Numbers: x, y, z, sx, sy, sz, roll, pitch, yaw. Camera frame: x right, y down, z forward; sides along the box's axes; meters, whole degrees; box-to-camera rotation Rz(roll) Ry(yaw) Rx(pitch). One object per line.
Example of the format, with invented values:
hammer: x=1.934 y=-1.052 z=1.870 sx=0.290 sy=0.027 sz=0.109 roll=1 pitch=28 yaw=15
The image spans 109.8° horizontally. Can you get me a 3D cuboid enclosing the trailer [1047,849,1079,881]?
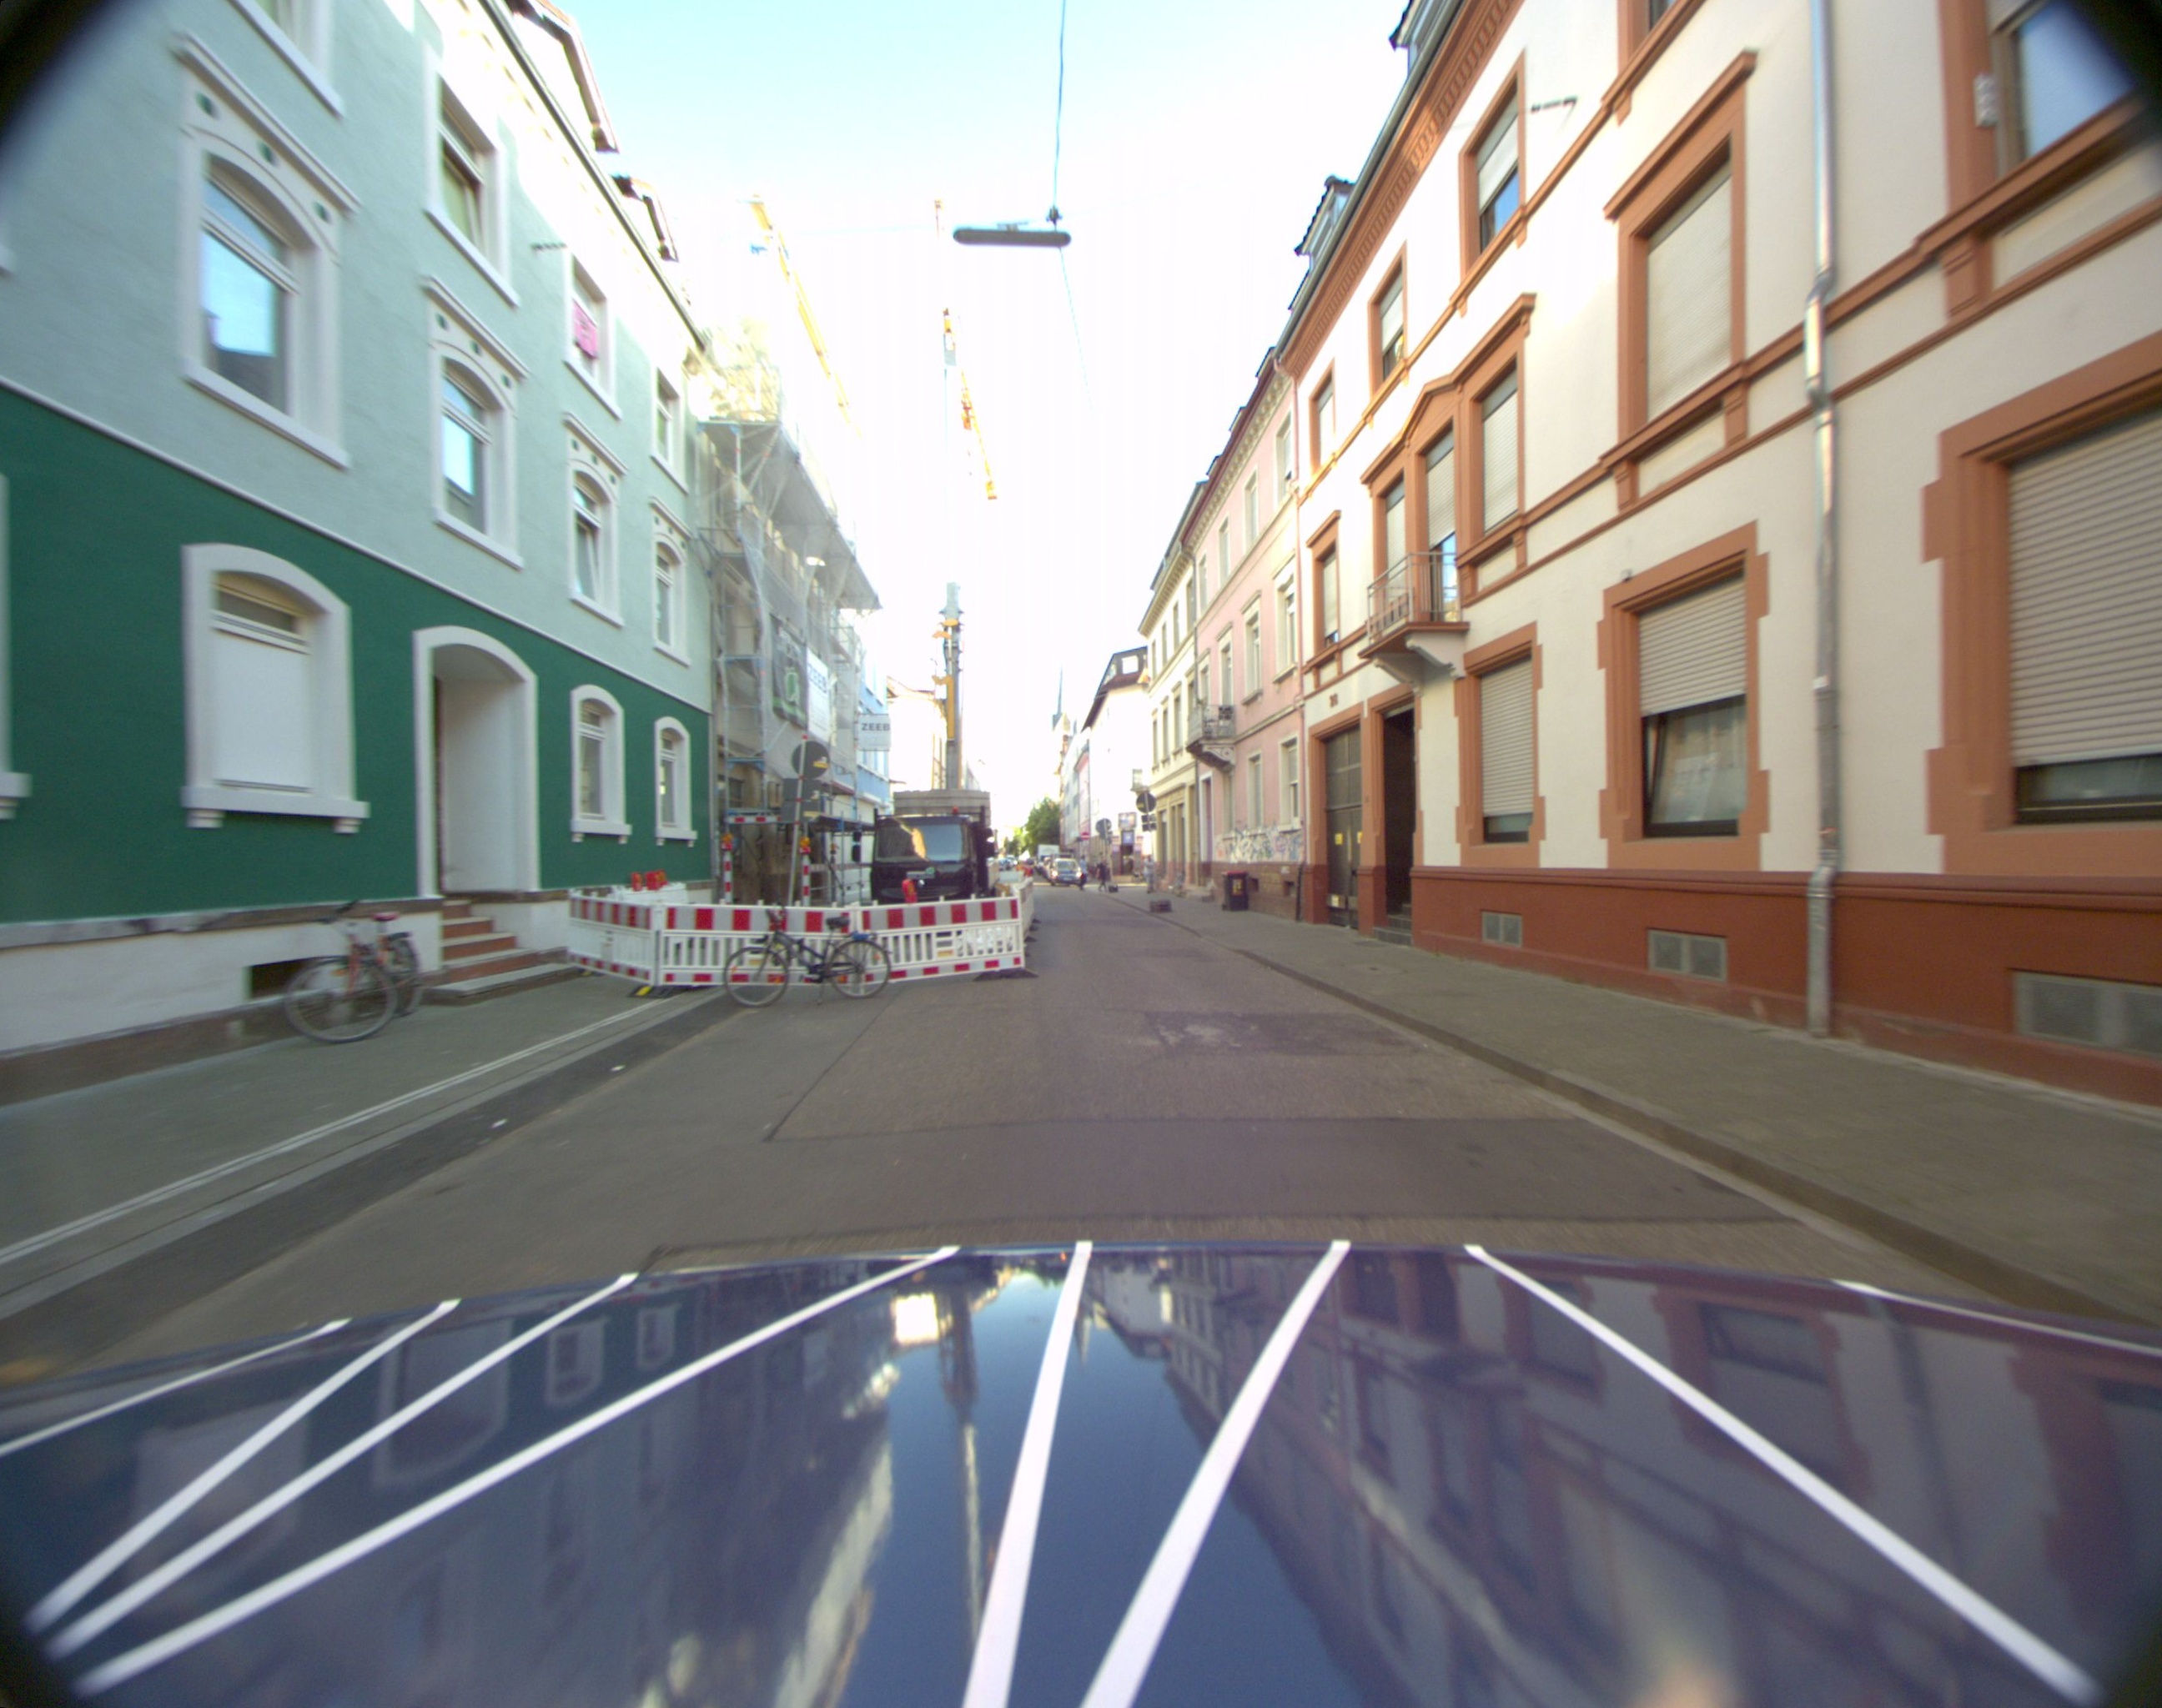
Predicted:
trailer: x=-1.248 y=0.701 z=50.425 sx=1.667 sy=2.049 sz=4.361 roll=0 pitch=0 yaw=-7

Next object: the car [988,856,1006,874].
car: x=-8.584 y=1.064 z=77.657 sx=1.714 sy=1.721 sz=4.405 roll=0 pitch=0 yaw=-5

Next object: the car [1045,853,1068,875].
car: x=-2.180 y=0.862 z=66.507 sx=1.807 sy=1.834 sz=4.242 roll=0 pitch=1 yaw=-4

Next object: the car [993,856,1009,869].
car: x=-8.883 y=0.943 z=84.670 sx=1.613 sy=1.387 sz=3.879 roll=0 pitch=0 yaw=-4

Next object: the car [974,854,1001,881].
car: x=-6.619 y=0.952 z=54.167 sx=1.753 sy=1.806 sz=4.367 roll=0 pitch=0 yaw=-4

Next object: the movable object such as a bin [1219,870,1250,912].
movable object such as a bin: x=3.975 y=0.956 z=19.647 sx=0.607 sy=1.029 sz=0.596 roll=-2 pitch=1 yaw=-5

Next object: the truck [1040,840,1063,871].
truck: x=-3.175 y=0.138 z=80.795 sx=2.297 sy=3.165 sz=7.042 roll=0 pitch=1 yaw=-3

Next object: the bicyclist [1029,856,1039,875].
bicyclist: x=-3.586 y=0.867 z=57.962 sx=0.710 sy=1.427 sz=0.789 roll=-1 pitch=1 yaw=-2

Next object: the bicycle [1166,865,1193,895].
bicycle: x=3.690 y=0.952 z=28.464 sx=0.624 sy=1.016 sz=1.817 roll=-2 pitch=0 yaw=-4

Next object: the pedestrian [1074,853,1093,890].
pedestrian: x=0.114 y=0.881 z=38.885 sx=0.772 sy=1.839 sz=0.779 roll=-2 pitch=1 yaw=-12

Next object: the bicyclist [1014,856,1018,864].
bicyclist: x=-13.505 y=1.282 z=157.448 sx=0.716 sy=1.650 sz=0.876 roll=-2 pitch=1 yaw=-7

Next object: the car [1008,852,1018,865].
car: x=-15.564 y=1.046 z=174.419 sx=2.000 sy=2.777 sz=4.560 roll=-2 pitch=1 yaw=-8

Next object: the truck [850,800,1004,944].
truck: x=-3.459 y=0.328 z=18.943 sx=2.669 sy=2.798 sz=7.389 roll=-2 pitch=1 yaw=-4

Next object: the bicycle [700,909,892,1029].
bicycle: x=-3.078 y=1.225 z=8.371 sx=1.856 sy=1.104 sz=0.643 roll=-2 pitch=1 yaw=-11

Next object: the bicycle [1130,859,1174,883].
bicycle: x=4.235 y=1.017 z=45.342 sx=2.482 sy=1.351 sz=0.928 roll=-1 pitch=1 yaw=-3

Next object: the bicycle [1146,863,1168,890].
bicycle: x=3.299 y=0.967 z=33.052 sx=0.605 sy=1.016 sz=1.817 roll=-5 pitch=1 yaw=-4

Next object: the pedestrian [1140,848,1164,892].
pedestrian: x=2.865 y=0.642 z=30.737 sx=0.695 sy=1.691 sz=0.865 roll=-6 pitch=-1 yaw=-4

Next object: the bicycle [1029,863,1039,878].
bicycle: x=-3.581 y=1.257 z=57.992 sx=0.710 sy=1.105 sz=1.934 roll=-1 pitch=0 yaw=-2

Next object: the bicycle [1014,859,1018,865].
bicycle: x=-13.481 y=1.716 z=157.427 sx=0.729 sy=1.173 sz=2.487 roll=-2 pitch=1 yaw=-6

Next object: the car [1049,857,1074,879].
car: x=-1.483 y=0.998 z=56.291 sx=1.681 sy=1.545 sz=3.816 roll=0 pitch=0 yaw=-4

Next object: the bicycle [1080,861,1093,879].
bicycle: x=0.352 y=1.035 z=49.928 sx=0.578 sy=1.132 sz=1.460 roll=-2 pitch=1 yaw=-9

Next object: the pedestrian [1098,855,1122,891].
pedestrian: x=1.442 y=0.933 z=37.695 sx=0.829 sy=1.782 sz=0.988 roll=1 pitch=1 yaw=-21

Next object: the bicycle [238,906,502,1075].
bicycle: x=-6.094 y=1.106 z=6.684 sx=0.657 sy=1.122 sz=1.833 roll=3 pitch=0 yaw=-4

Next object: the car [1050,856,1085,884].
car: x=-0.836 y=0.942 z=45.400 sx=1.727 sy=1.596 sz=4.164 roll=0 pitch=0 yaw=-6
